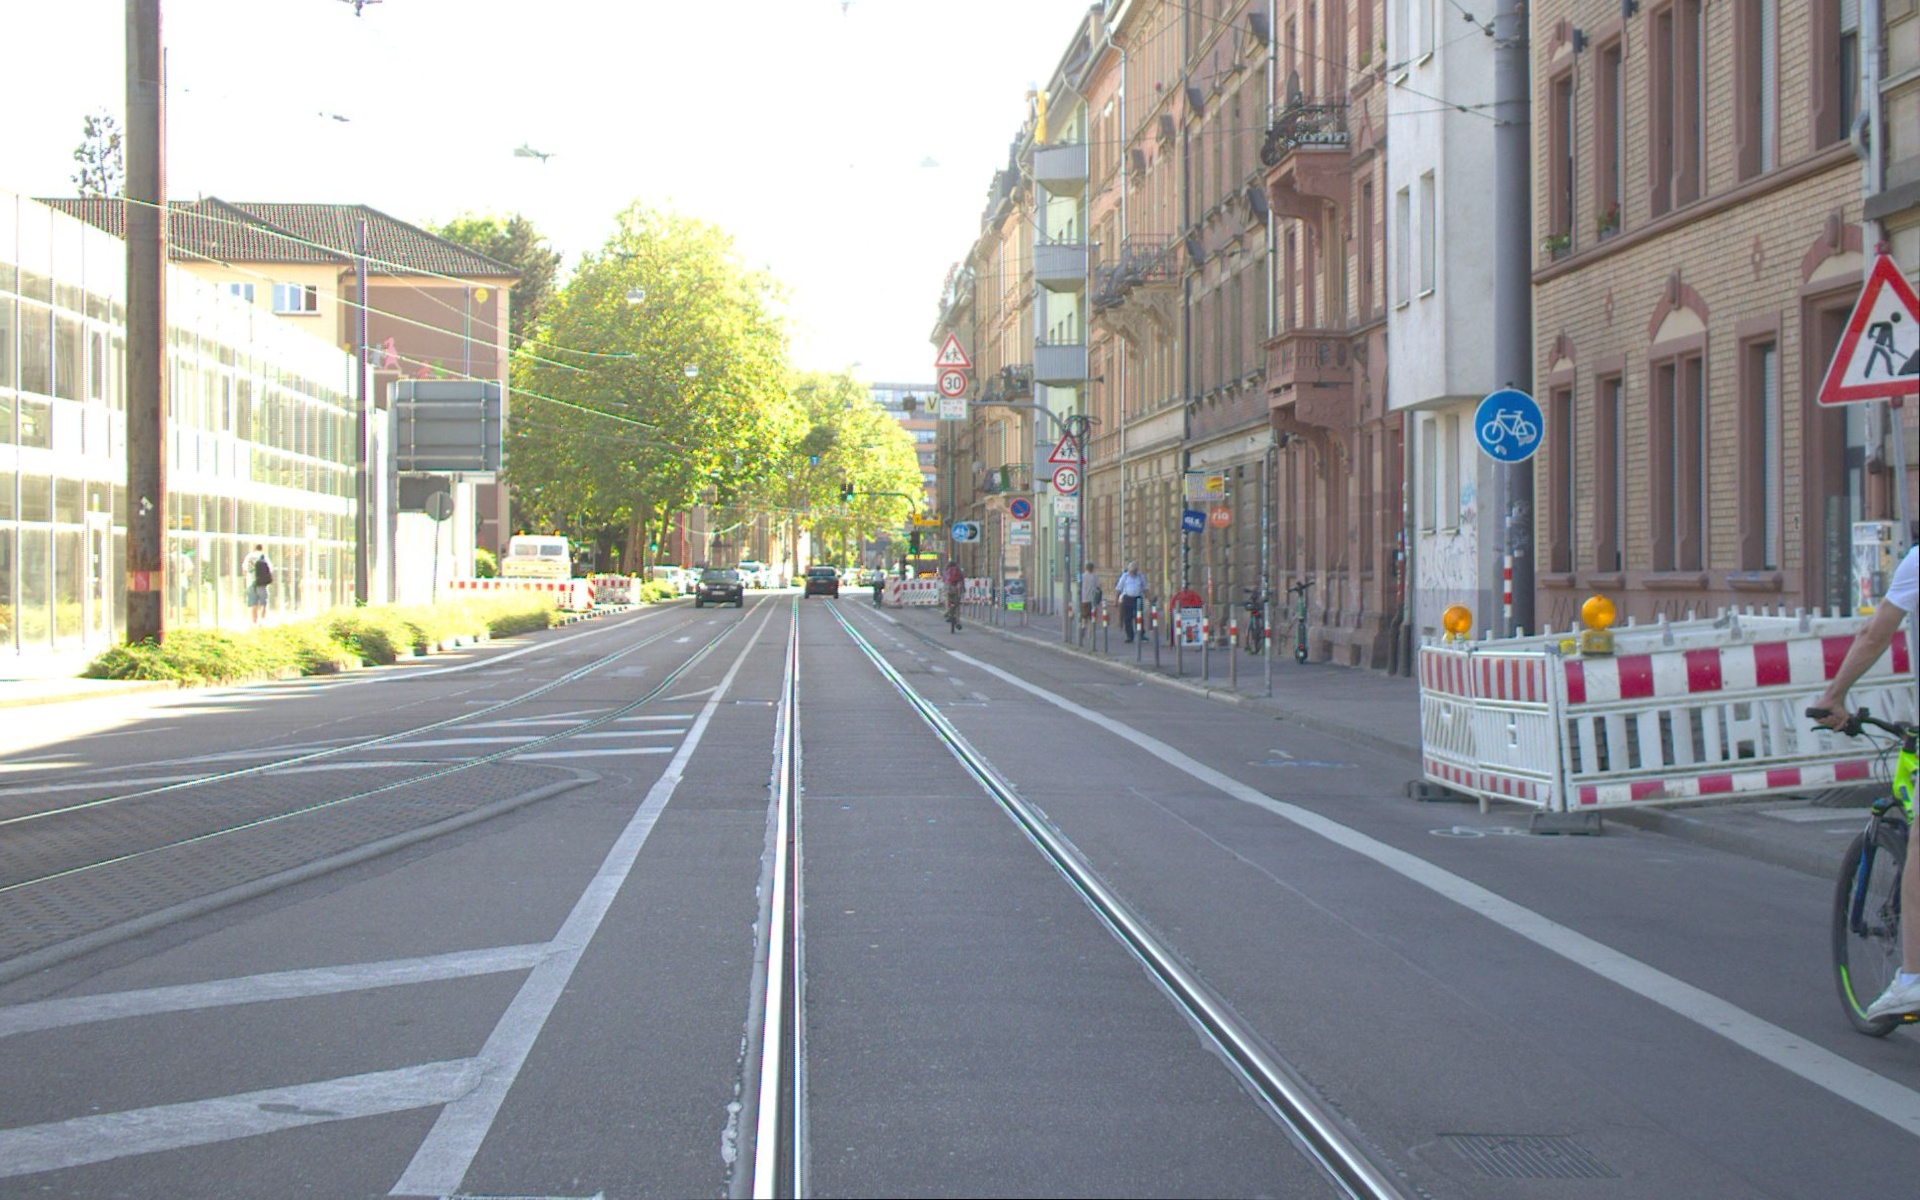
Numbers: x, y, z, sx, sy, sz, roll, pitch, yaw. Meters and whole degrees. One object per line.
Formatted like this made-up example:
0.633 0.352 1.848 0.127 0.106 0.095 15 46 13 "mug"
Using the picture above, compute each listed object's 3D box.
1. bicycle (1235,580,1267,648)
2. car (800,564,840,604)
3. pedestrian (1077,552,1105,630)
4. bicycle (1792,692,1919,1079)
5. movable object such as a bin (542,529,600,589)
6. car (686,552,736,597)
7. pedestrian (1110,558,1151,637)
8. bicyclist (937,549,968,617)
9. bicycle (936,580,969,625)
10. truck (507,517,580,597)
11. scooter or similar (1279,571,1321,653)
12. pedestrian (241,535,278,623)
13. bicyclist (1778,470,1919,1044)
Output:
4.911 0.228 58.037 0.410 1.117 1.898 -1 0 2 "bicycle"
-7.341 -0.851 180.677 1.993 2.007 4.000 2 0 -2 "car"
2.884 -0.207 75.597 0.553 1.695 0.474 -2 0 3 "pedestrian"
3.137 0.879 10.780 0.531 1.114 1.934 2 0 0 "bicycle"
-17.976 -1.901 159.085 2.494 2.636 5.990 2 0 -5 "movable object such as a bin"
-9.819 -0.993 135.782 1.759 1.691 4.144 2 0 -1 "car"
3.488 -0.053 70.381 0.798 1.599 0.652 0 0 0 "pedestrian"
-0.187 -0.435 86.648 0.667 1.691 1.043 2 0 -3 "bicyclist"
-0.199 0.051 86.972 0.681 1.110 2.707 2 0 -3 "bicycle"
-15.498 -1.581 128.212 2.537 2.820 6.377 2 0 -6 "truck"
5.126 0.177 51.934 0.406 1.207 1.480 -1 0 -2 "scooter or similar"
-14.189 -0.426 69.608 0.526 1.759 1.051 2 0 -3 "pedestrian"
3.073 0.467 10.641 0.681 1.678 1.120 2 0 -5 "bicyclist"
